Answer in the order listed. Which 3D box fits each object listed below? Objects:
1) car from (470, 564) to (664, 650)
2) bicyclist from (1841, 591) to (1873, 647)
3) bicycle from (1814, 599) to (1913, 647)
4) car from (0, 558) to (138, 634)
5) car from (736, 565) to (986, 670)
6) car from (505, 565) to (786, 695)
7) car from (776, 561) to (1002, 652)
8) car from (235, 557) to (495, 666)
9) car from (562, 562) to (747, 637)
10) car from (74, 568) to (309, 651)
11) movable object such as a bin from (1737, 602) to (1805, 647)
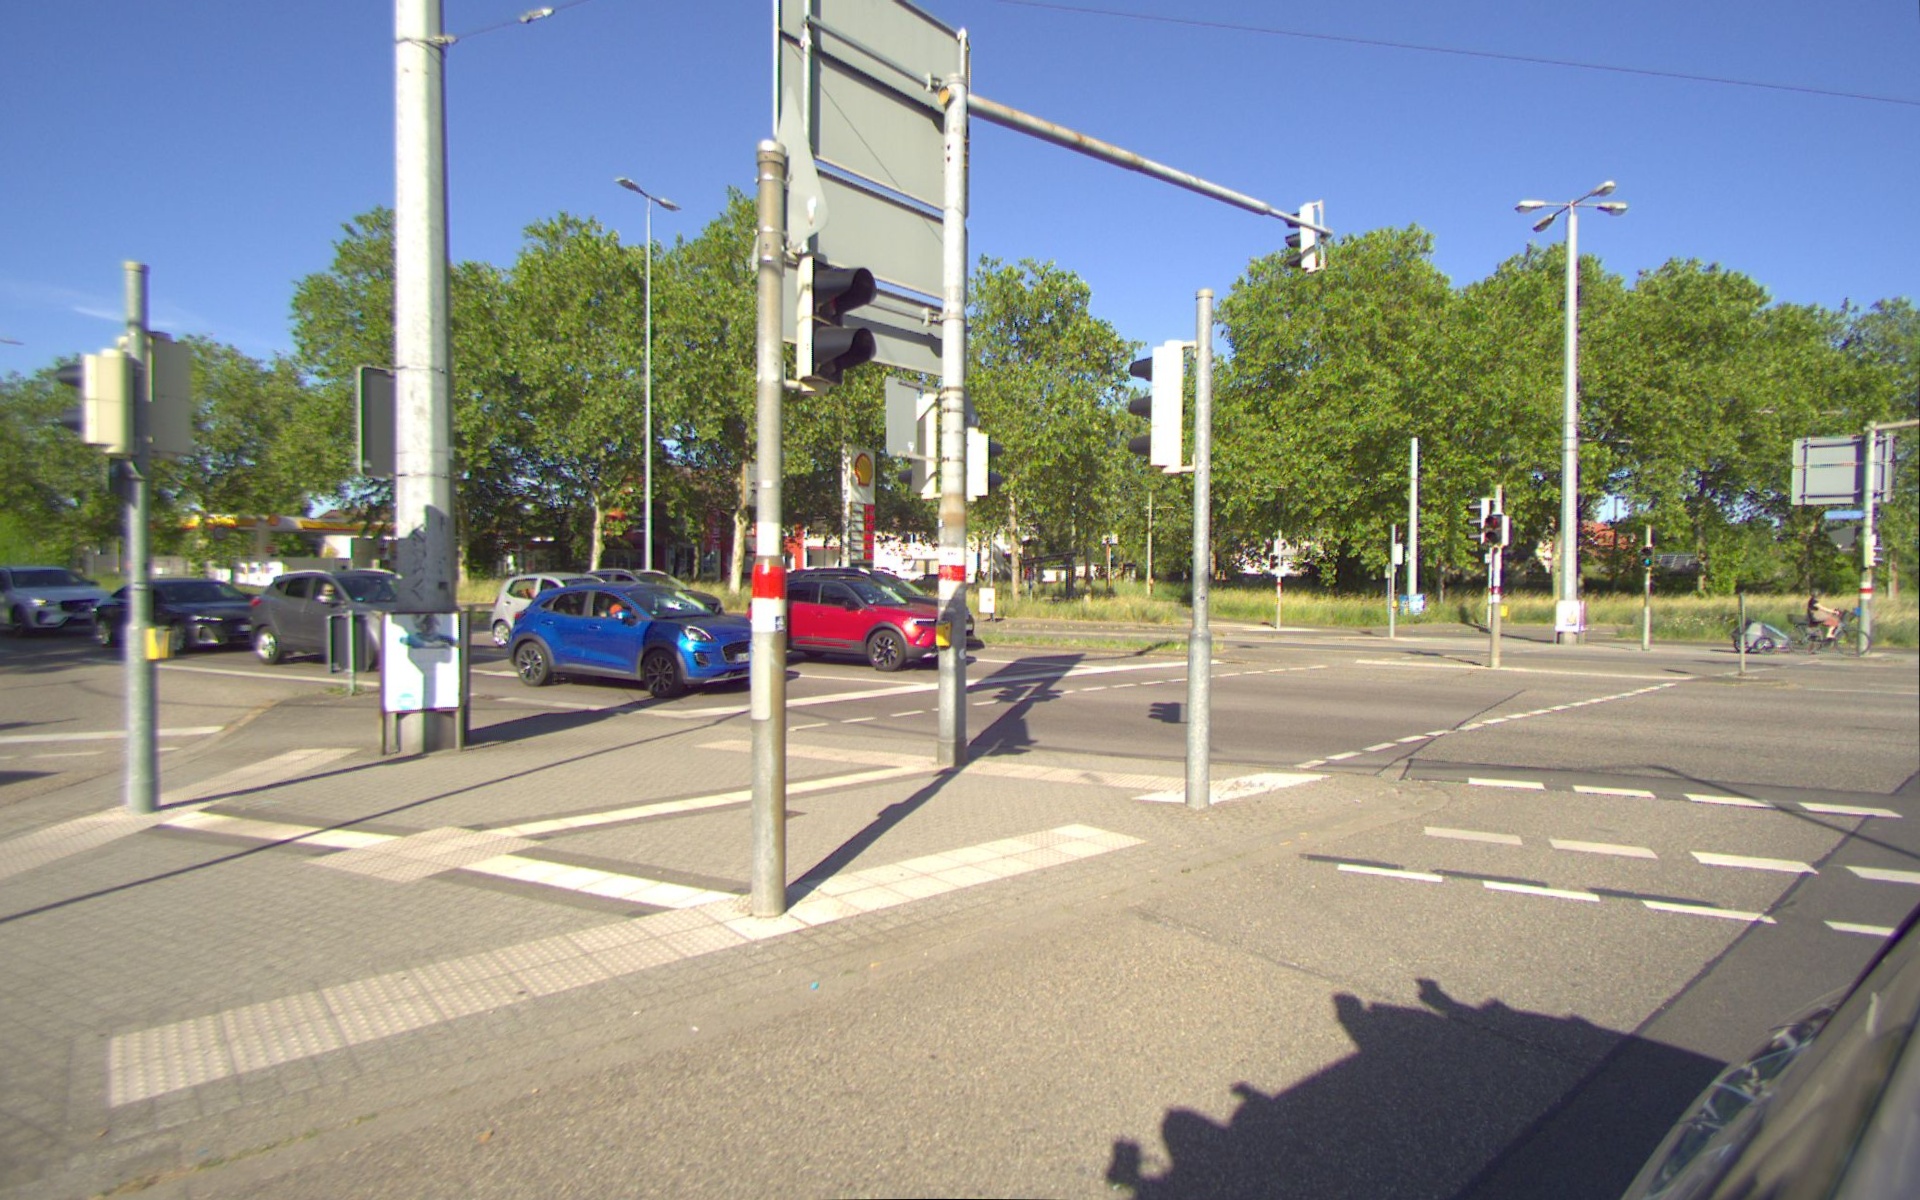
[{"bbox_3d":[-8.177,0.083,21.011,3.824,1.620,1.697,2,1,28],"label":"car"},{"bbox_3d":[22.630,0.470,25.542,0.563,1.357,0.503,2,2,41],"label":"bicyclist"},{"bbox_3d":[22.736,0.567,25.514,1.811,1.132,0.461,2,1,40],"label":"bicycle"},{"bbox_3d":[-22.428,-0.116,24.630,4.725,1.703,1.893,0,1,25],"label":"car"},{"bbox_3d":[-1.748,0.226,17.727,4.050,1.620,1.800,2,2,27],"label":"car"},{"bbox_3d":[-4.606,0.335,14.808,3.822,1.619,1.698,1,4,27],"label":"car"},{"bbox_3d":[-1.518,0.072,21.483,4.447,1.732,1.905,2,2,25],"label":"car"},{"bbox_3d":[-10.448,0.139,17.773,4.130,1.699,1.919,1,1,24],"label":"car"},{"bbox_3d":[-7.328,-0.064,24.273,3.958,1.638,1.983,1,1,25],"label":"car"},{"bbox_3d":[-15.953,0.128,21.008,4.520,1.424,1.920,1,5,24],"label":"car"},{"bbox_3d":[20.790,0.610,25.961,1.310,1.082,0.899,2,2,39],"label":"movable object such as a bin"}]
